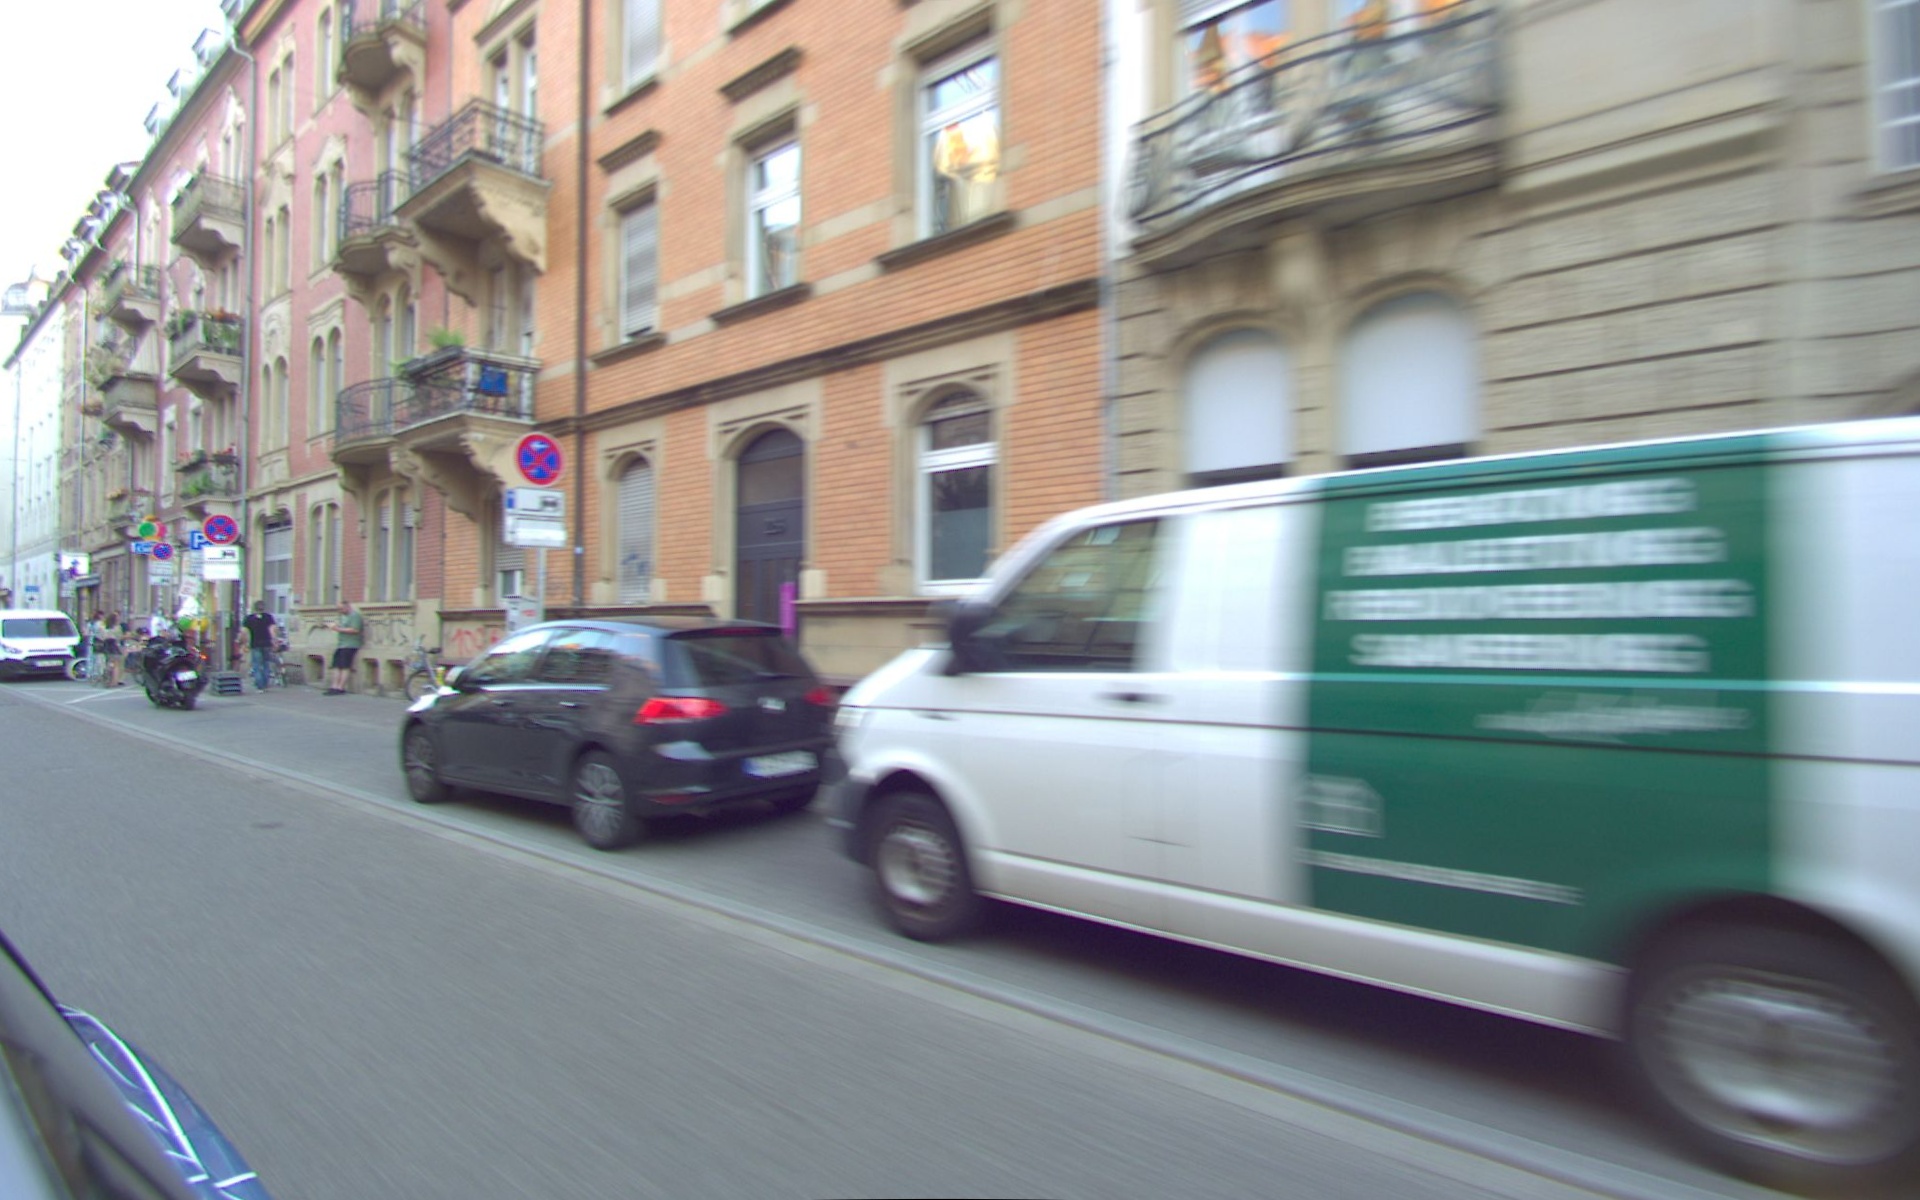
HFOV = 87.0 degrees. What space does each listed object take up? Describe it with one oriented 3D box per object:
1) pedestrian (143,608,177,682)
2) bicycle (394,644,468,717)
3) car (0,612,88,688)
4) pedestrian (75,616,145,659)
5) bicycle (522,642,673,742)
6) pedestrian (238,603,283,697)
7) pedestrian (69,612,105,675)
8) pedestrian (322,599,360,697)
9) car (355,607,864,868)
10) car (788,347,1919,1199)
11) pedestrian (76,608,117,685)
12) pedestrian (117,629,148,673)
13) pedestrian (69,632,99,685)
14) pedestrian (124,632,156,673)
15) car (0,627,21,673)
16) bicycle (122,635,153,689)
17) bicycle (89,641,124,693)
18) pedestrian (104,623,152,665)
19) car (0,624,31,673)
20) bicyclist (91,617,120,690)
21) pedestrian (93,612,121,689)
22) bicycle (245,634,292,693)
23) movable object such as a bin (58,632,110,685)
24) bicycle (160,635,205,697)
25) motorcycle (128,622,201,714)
[{"bbox_3d":[-20.217,1.118,25.577,0.589,1.828,0.723,0,-1,-31],"label":"pedestrian"},{"bbox_3d":[-8.224,1.223,15.698,1.740,1.038,0.443,-1,-1,42],"label":"bicycle"},{"bbox_3d":[-24.302,1.227,26.303,4.583,1.802,1.753,-1,-1,40],"label":"car"},{"bbox_3d":[-25.582,1.113,30.476,0.641,1.212,1.546,-1,-1,39],"label":"pedestrian"},{"bbox_3d":[-4.556,1.112,12.655,2.020,1.109,0.743,-1,-1,35],"label":"bicycle"},{"bbox_3d":[-13.933,0.968,20.158,0.673,1.824,0.963,0,-1,-39],"label":"pedestrian"},{"bbox_3d":[-24.787,1.219,28.743,0.610,1.743,0.587,0,-1,-21],"label":"pedestrian"},{"bbox_3d":[-11.656,0.893,19.058,0.642,1.803,0.458,-1,-1,45],"label":"pedestrian"},{"bbox_3d":[-2.855,0.834,7.814,4.168,1.482,1.819,-1,-2,39],"label":"car"},{"bbox_3d":[1.546,0.443,4.042,4.844,1.936,1.817,-1,-2,42],"label":"car"},{"bbox_3d":[-21.091,1.122,24.726,0.718,1.828,0.593,-1,-1,32],"label":"pedestrian"},{"bbox_3d":[-24.486,1.513,29.955,0.585,1.261,0.612,-1,-1,39],"label":"pedestrian"},{"bbox_3d":[-21.718,1.437,25.094,0.652,1.260,0.473,-1,-1,42],"label":"pedestrian"},{"bbox_3d":[-23.829,1.518,29.400,0.572,1.148,0.625,-1,-1,39],"label":"pedestrian"},{"bbox_3d":[-35.125,1.785,36.235,3.969,1.608,1.906,-2,-2,43],"label":"car"},{"bbox_3d":[-19.011,1.414,23.379,0.460,1.164,2.003,0,-1,-42],"label":"bicycle"},{"bbox_3d":[-18.940,1.467,22.452,1.521,1.076,0.460,-1,-1,45],"label":"bicycle"},{"bbox_3d":[-24.937,1.309,30.337,0.503,1.212,1.028,-1,-1,39],"label":"pedestrian"},{"bbox_3d":[-31.788,1.569,33.147,3.792,1.541,1.686,-2,-2,43],"label":"car"},{"bbox_3d":[-19.043,1.185,22.555,0.487,1.602,0.460,-1,-1,44],"label":"bicyclist"},{"bbox_3d":[-19.334,1.138,22.940,0.350,1.722,0.414,-1,-1,36],"label":"pedestrian"},{"bbox_3d":[-14.625,1.317,21.385,1.837,1.168,0.407,-1,-1,42],"label":"bicycle"},{"bbox_3d":[-21.686,1.436,25.057,0.776,1.260,0.878,-1,-1,41],"label":"movable object such as a bin"},{"bbox_3d":[-15.809,1.323,20.563,1.837,1.168,0.407,-1,-1,42],"label":"bicycle"},{"bbox_3d":[-13.156,1.081,16.714,2.015,1.415,0.677,-1,-1,44],"label":"motorcycle"}]
